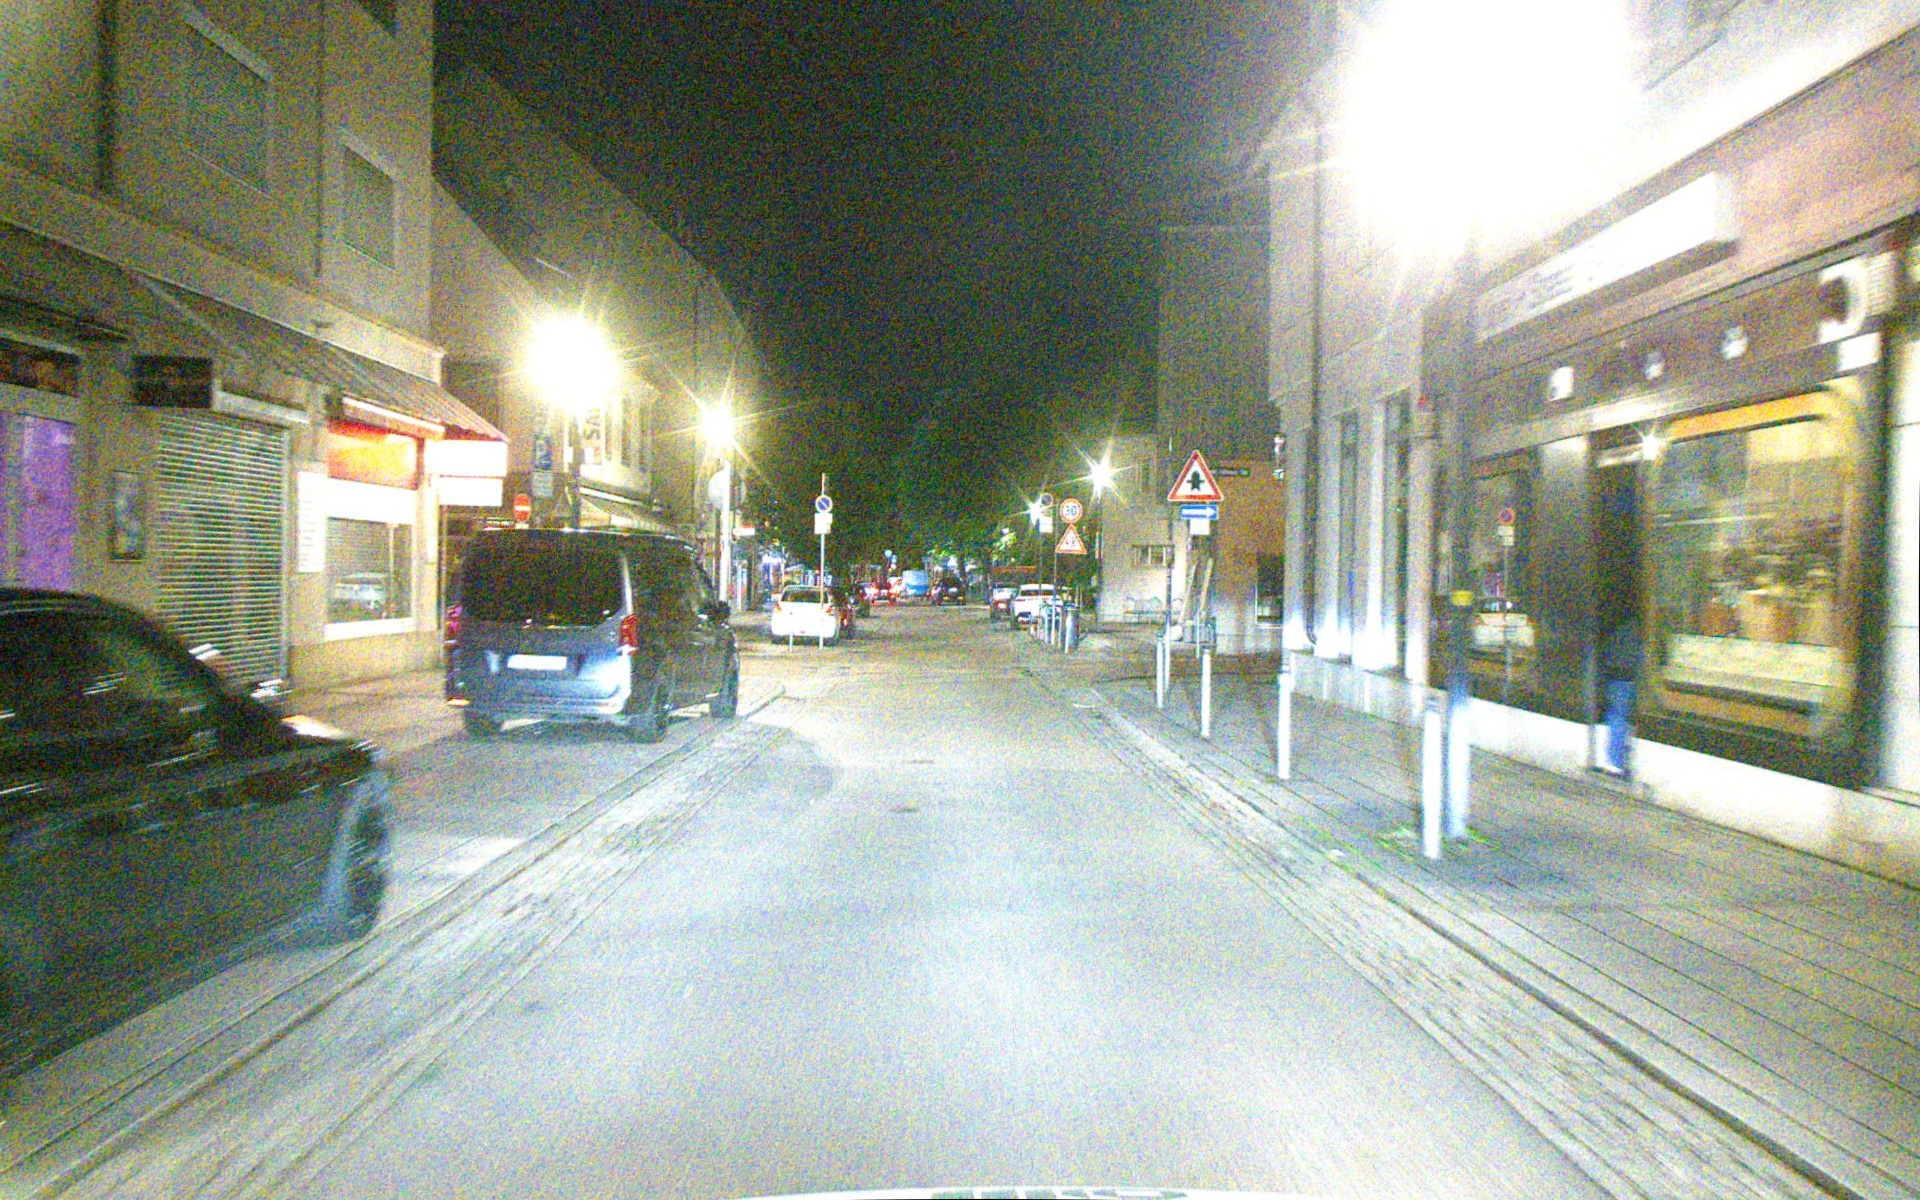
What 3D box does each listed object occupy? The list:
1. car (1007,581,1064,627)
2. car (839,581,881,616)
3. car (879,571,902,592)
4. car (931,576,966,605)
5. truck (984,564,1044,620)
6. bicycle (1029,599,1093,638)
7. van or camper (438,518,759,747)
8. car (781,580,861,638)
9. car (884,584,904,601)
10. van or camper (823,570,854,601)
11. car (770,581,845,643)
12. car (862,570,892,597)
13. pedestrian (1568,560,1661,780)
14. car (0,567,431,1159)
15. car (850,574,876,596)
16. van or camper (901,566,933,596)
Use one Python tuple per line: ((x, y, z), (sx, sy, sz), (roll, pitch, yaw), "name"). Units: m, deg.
((2.577, 0.121, 57.192), (1.753, 1.517, 4.059), (-1, 1, 0), "car")
((-4.678, -0.088, 77.021), (1.641, 1.570, 4.224), (2, 0, -7), "car")
((-6.425, -1.687, 152.784), (1.804, 1.934, 3.840), (0, 0, -6), "car")
((-0.770, -0.645, 107.850), (1.780, 1.860, 4.340), (0, 1, -7), "car")
((2.339, -0.378, 72.730), (2.289, 2.352, 5.779), (0, 1, -2), "truck")
((2.793, 0.515, 45.782), (1.719, 1.080, 0.346), (0, 0, -4), "bicycle")
((-3.521, 0.269, 17.209), (1.807, 1.976, 5.156), (2, 0, 4), "van or camper")
((-4.036, 0.230, 48.705), (1.979, 1.513, 5.006), (4, 0, -2), "car")
((-5.837, -0.685, 146.774), (1.502, 1.443, 3.840), (0, 1, -6), "car")
((-8.444, -0.994, 114.588), (1.831, 2.046, 4.255), (2, 0, -8), "van or camper")
((-3.956, 0.287, 43.419), (1.694, 1.502, 3.845), (2, 0, -2), "car")
((-6.026, -1.198, 119.975), (1.955, 1.855, 3.995), (1, 0, -6), "car")
((4.825, 0.505, 12.208), (0.490, 1.574, 0.480), (2, 0, 5), "pedestrian")
((-3.194, 0.625, 5.103), (1.682, 1.437, 4.385), (2, 0, 0), "car")
((-7.881, -1.216, 134.118), (1.955, 1.732, 3.995), (1, 0, -6), "car")
((-3.503, -1.514, 133.923), (2.069, 2.357, 4.255), (-1, 1, -8), "van or camper")
